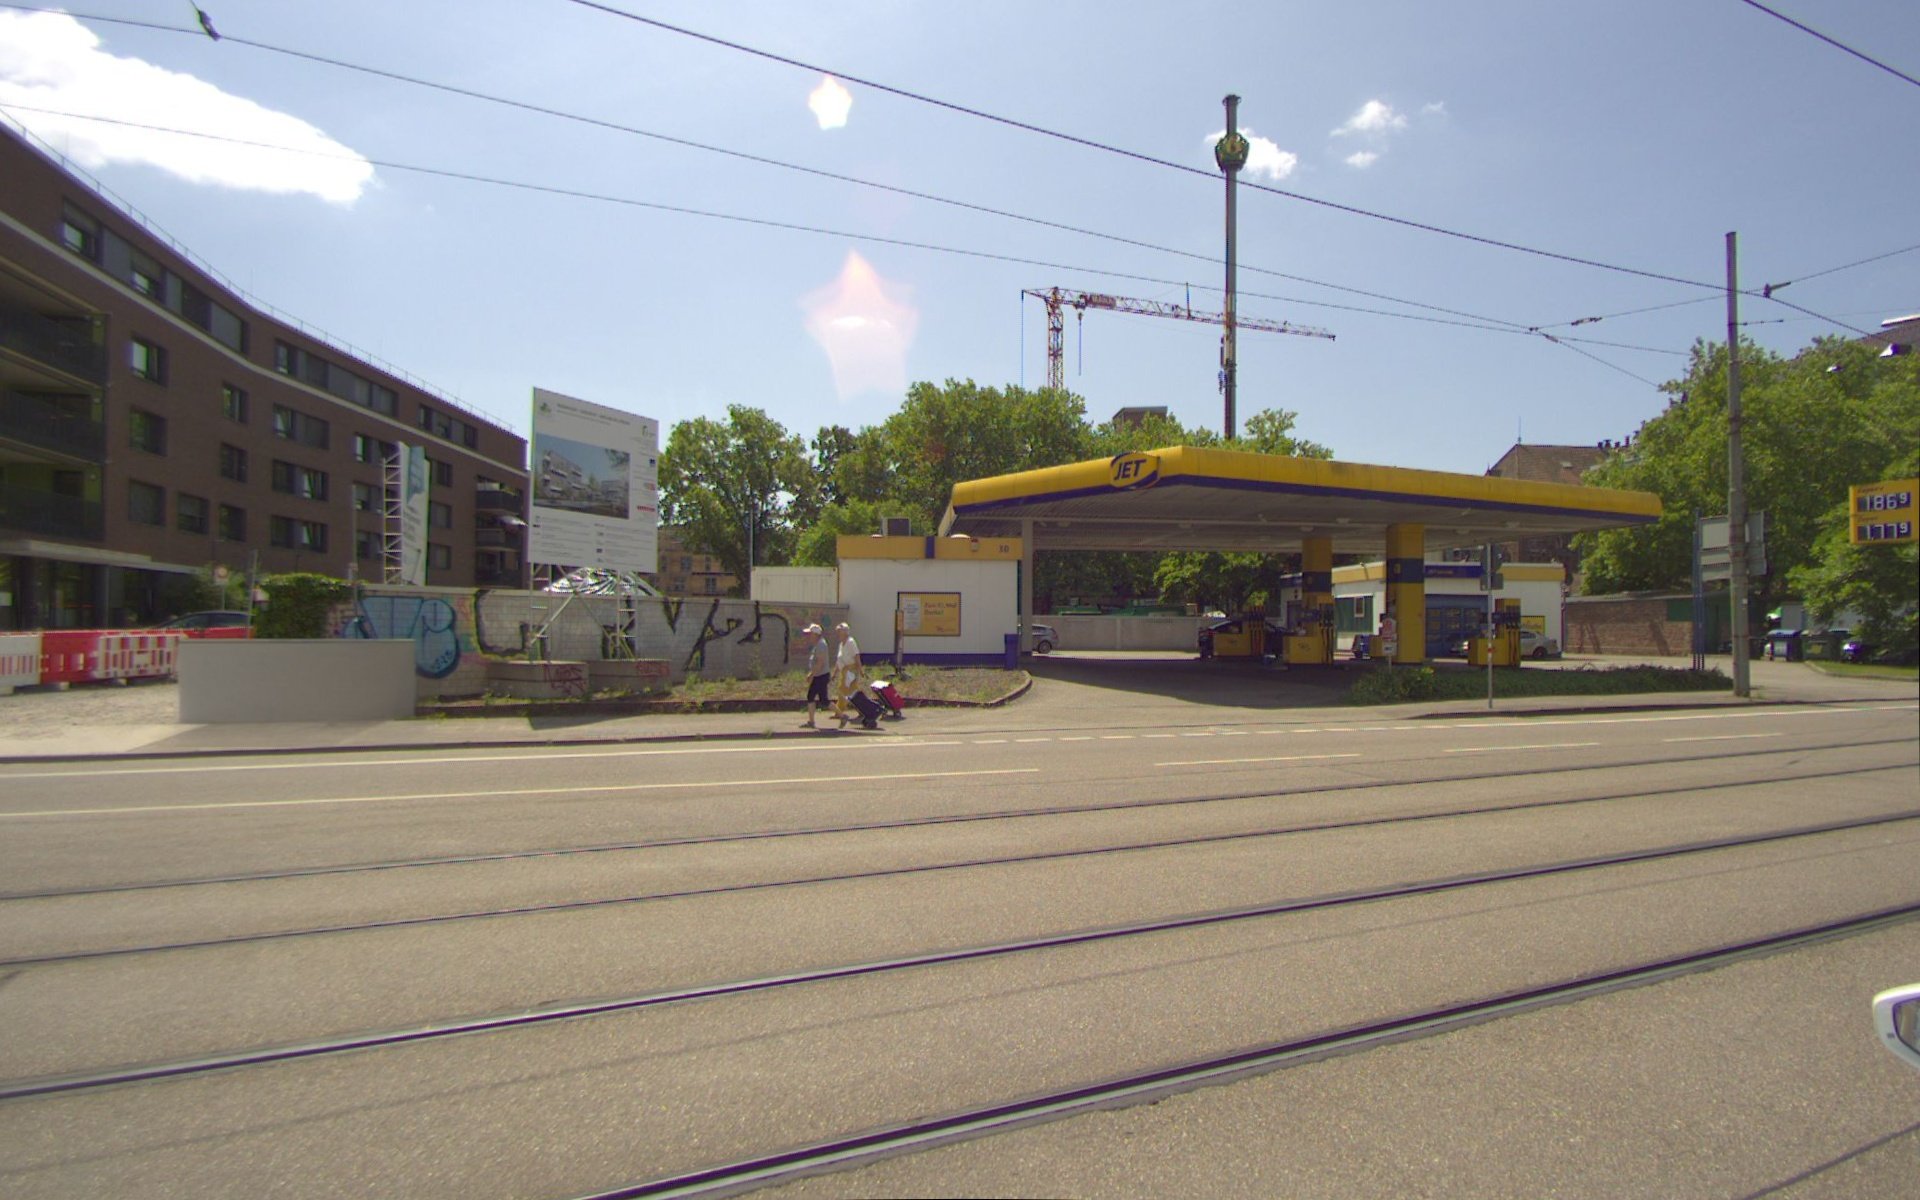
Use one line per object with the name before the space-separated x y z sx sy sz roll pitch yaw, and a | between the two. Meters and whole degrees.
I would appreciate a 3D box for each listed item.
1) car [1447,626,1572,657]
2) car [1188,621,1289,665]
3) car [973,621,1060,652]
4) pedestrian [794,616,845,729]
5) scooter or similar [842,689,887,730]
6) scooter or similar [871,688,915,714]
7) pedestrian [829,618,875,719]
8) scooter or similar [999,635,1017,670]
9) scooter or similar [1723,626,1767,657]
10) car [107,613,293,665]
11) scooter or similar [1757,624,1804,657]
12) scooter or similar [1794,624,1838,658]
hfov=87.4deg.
car | 25.479 1.912 46.678 4.914 1.383 1.840 1 -2 -5
car | 11.385 1.787 41.212 3.697 1.725 1.603 1 -3 -3
car | 2.785 1.820 49.686 4.147 1.364 1.380 1 -3 -5
pedestrian | -2.169 1.106 15.519 0.657 1.693 0.579 1 -1 -20
scooter or similar | -1.513 1.727 15.922 0.621 0.588 0.476 1 -1 -18
scooter or similar | -1.162 1.754 17.426 0.662 0.400 0.472 1 -1 -21
pedestrian | -1.852 1.156 17.178 0.662 1.680 0.552 1 -1 -21
scooter or similar | 1.312 1.425 27.333 0.322 0.942 0.404 1 -1 -25
scooter or similar | 37.674 1.974 48.244 1.042 1.486 1.313 1 -1 -17
car | -21.484 1.110 28.569 3.848 1.398 1.622 1 -1 -19
scooter or similar | 37.594 1.860 46.050 1.042 1.486 1.313 2 -2 -17
scooter or similar | 37.810 1.811 44.369 1.044 1.486 1.170 2 -2 -23
